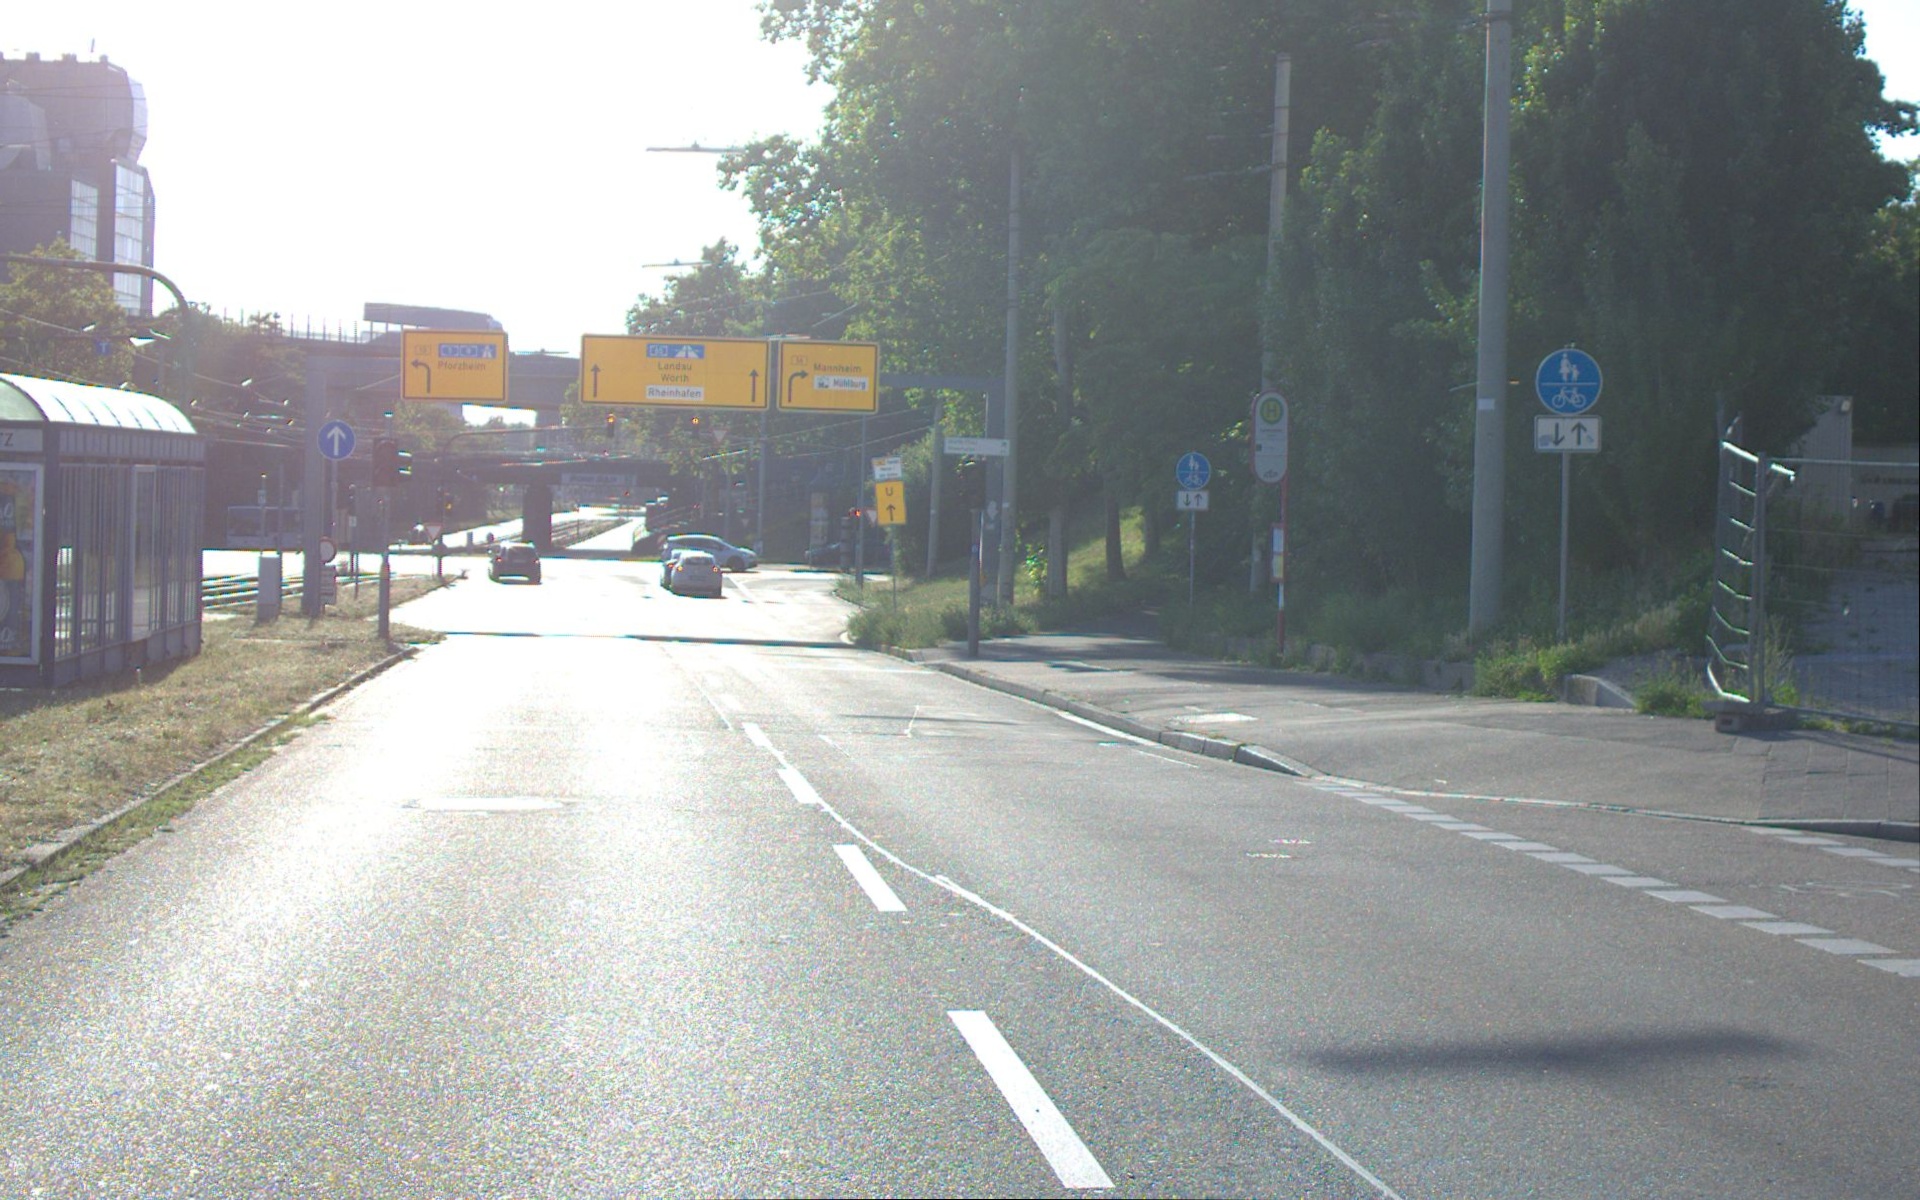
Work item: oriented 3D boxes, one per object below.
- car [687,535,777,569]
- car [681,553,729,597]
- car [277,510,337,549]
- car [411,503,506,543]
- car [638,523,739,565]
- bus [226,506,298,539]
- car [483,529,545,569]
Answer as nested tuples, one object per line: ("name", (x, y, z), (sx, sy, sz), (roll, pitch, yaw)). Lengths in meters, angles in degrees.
("car", (-10.348, -2.176, 155.706), (3.986, 1.441, 1.774), (1, 1, -5))
("car", (-8.853, -0.879, 119.664), (1.515, 1.383, 3.364), (2, 2, -2))
("car", (-33.928, -3.666, 178.799), (1.993, 2.007, 4.862), (1, 1, 2))
("car", (-27.870, -4.289, 191.068), (4.788, 2.006, 1.999), (3, 2, 16))
("car", (-14.337, -2.958, 181.498), (4.850, 2.006, 1.999), (3, 2, 15))
("bus", (-44.860, -4.964, 221.165), (2.583, 2.007, 12.297), (1, 1, -2))
("car", (-16.631, -1.922, 128.336), (2.037, 1.441, 4.001), (1, 1, -4))
